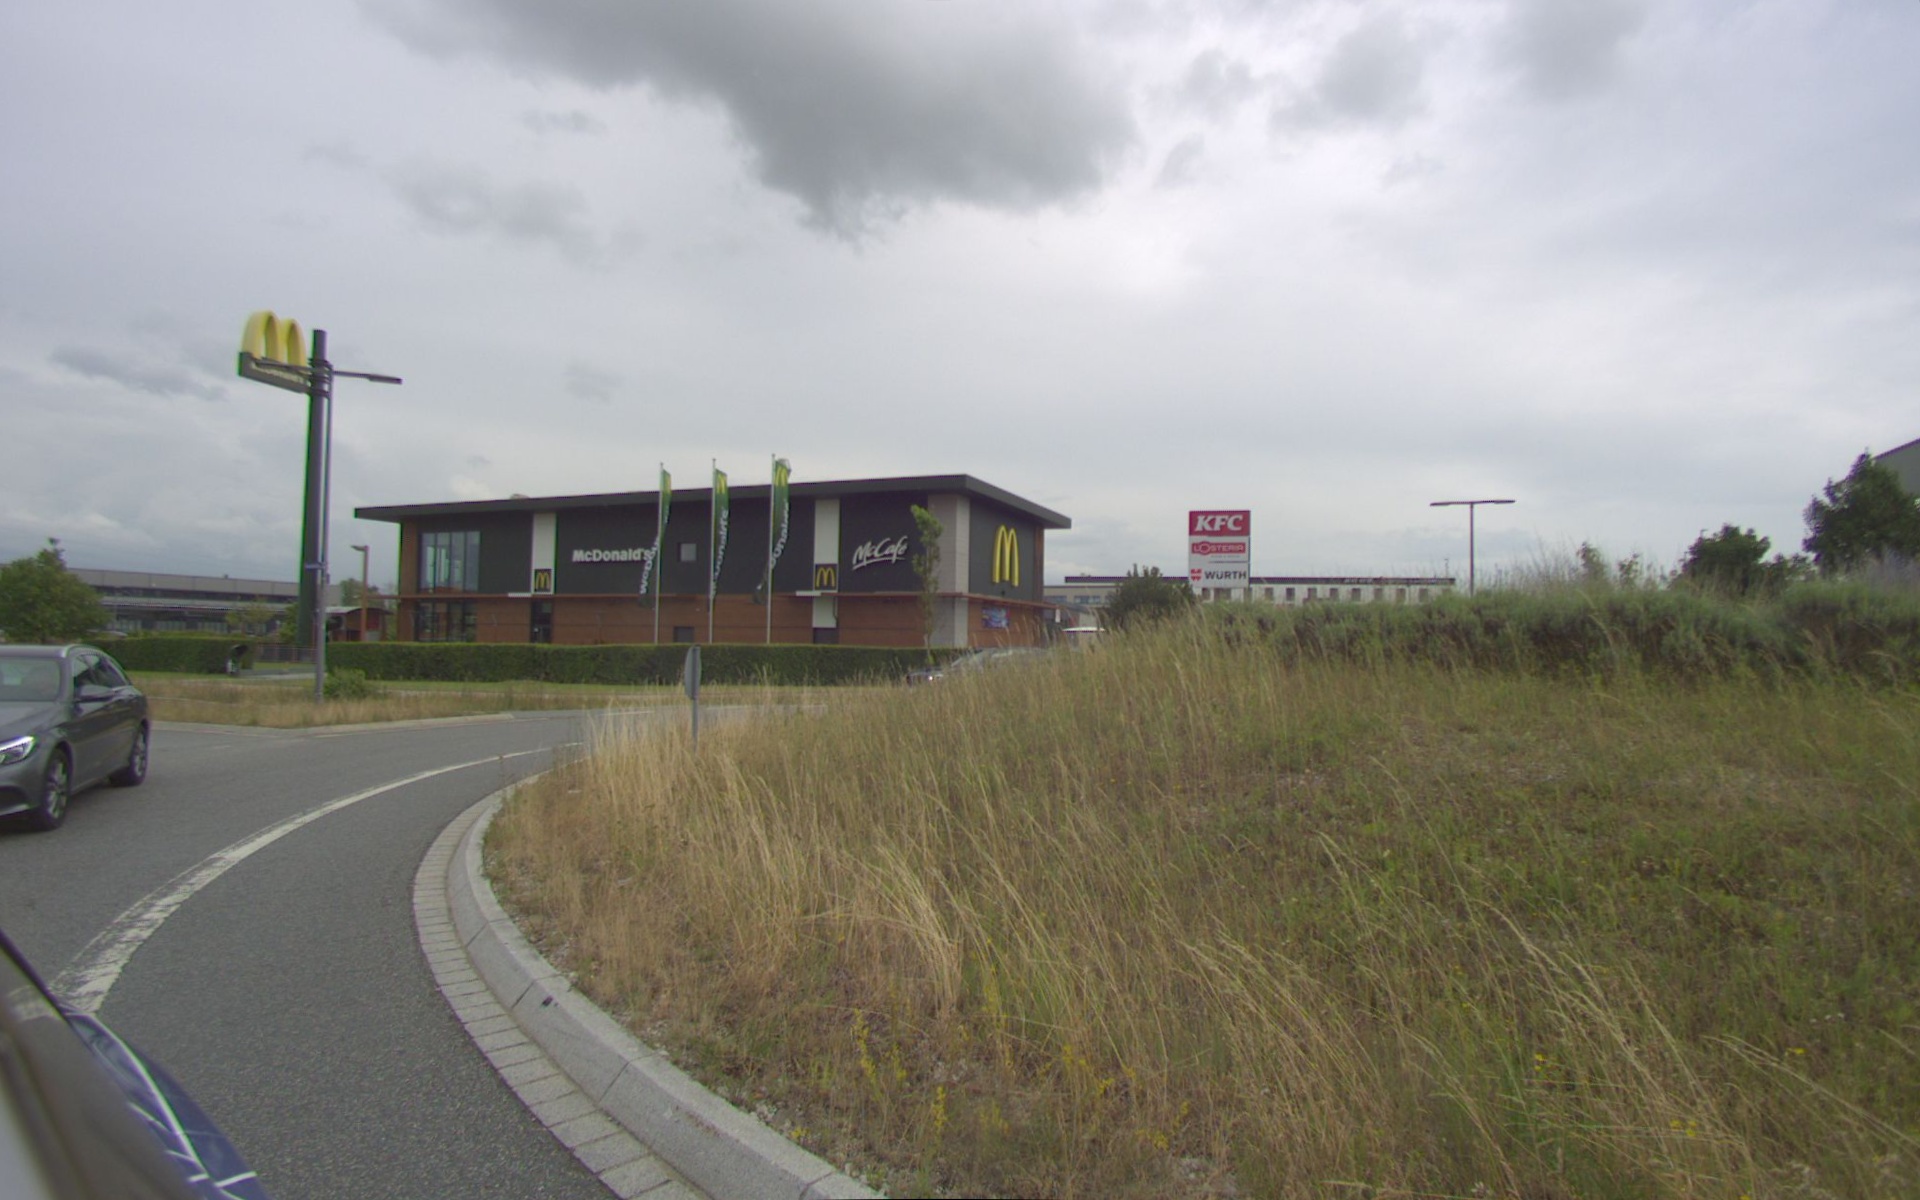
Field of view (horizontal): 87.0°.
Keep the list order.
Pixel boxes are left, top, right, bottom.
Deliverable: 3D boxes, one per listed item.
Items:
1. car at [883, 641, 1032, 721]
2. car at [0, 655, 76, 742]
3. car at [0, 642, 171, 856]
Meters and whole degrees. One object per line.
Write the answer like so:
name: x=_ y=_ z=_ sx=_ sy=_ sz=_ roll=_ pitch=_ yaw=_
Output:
car: x=0.009 y=2.017 z=26.309 sx=1.841 sy=1.732 sz=3.950 roll=-1 pitch=0 yaw=37
car: x=-19.152 y=1.826 z=19.256 sx=4.283 sy=1.516 sz=1.981 roll=-1 pitch=-2 yaw=26
car: x=-8.486 y=1.116 z=8.739 sx=1.874 sy=1.508 sz=4.352 roll=2 pitch=-3 yaw=-28
